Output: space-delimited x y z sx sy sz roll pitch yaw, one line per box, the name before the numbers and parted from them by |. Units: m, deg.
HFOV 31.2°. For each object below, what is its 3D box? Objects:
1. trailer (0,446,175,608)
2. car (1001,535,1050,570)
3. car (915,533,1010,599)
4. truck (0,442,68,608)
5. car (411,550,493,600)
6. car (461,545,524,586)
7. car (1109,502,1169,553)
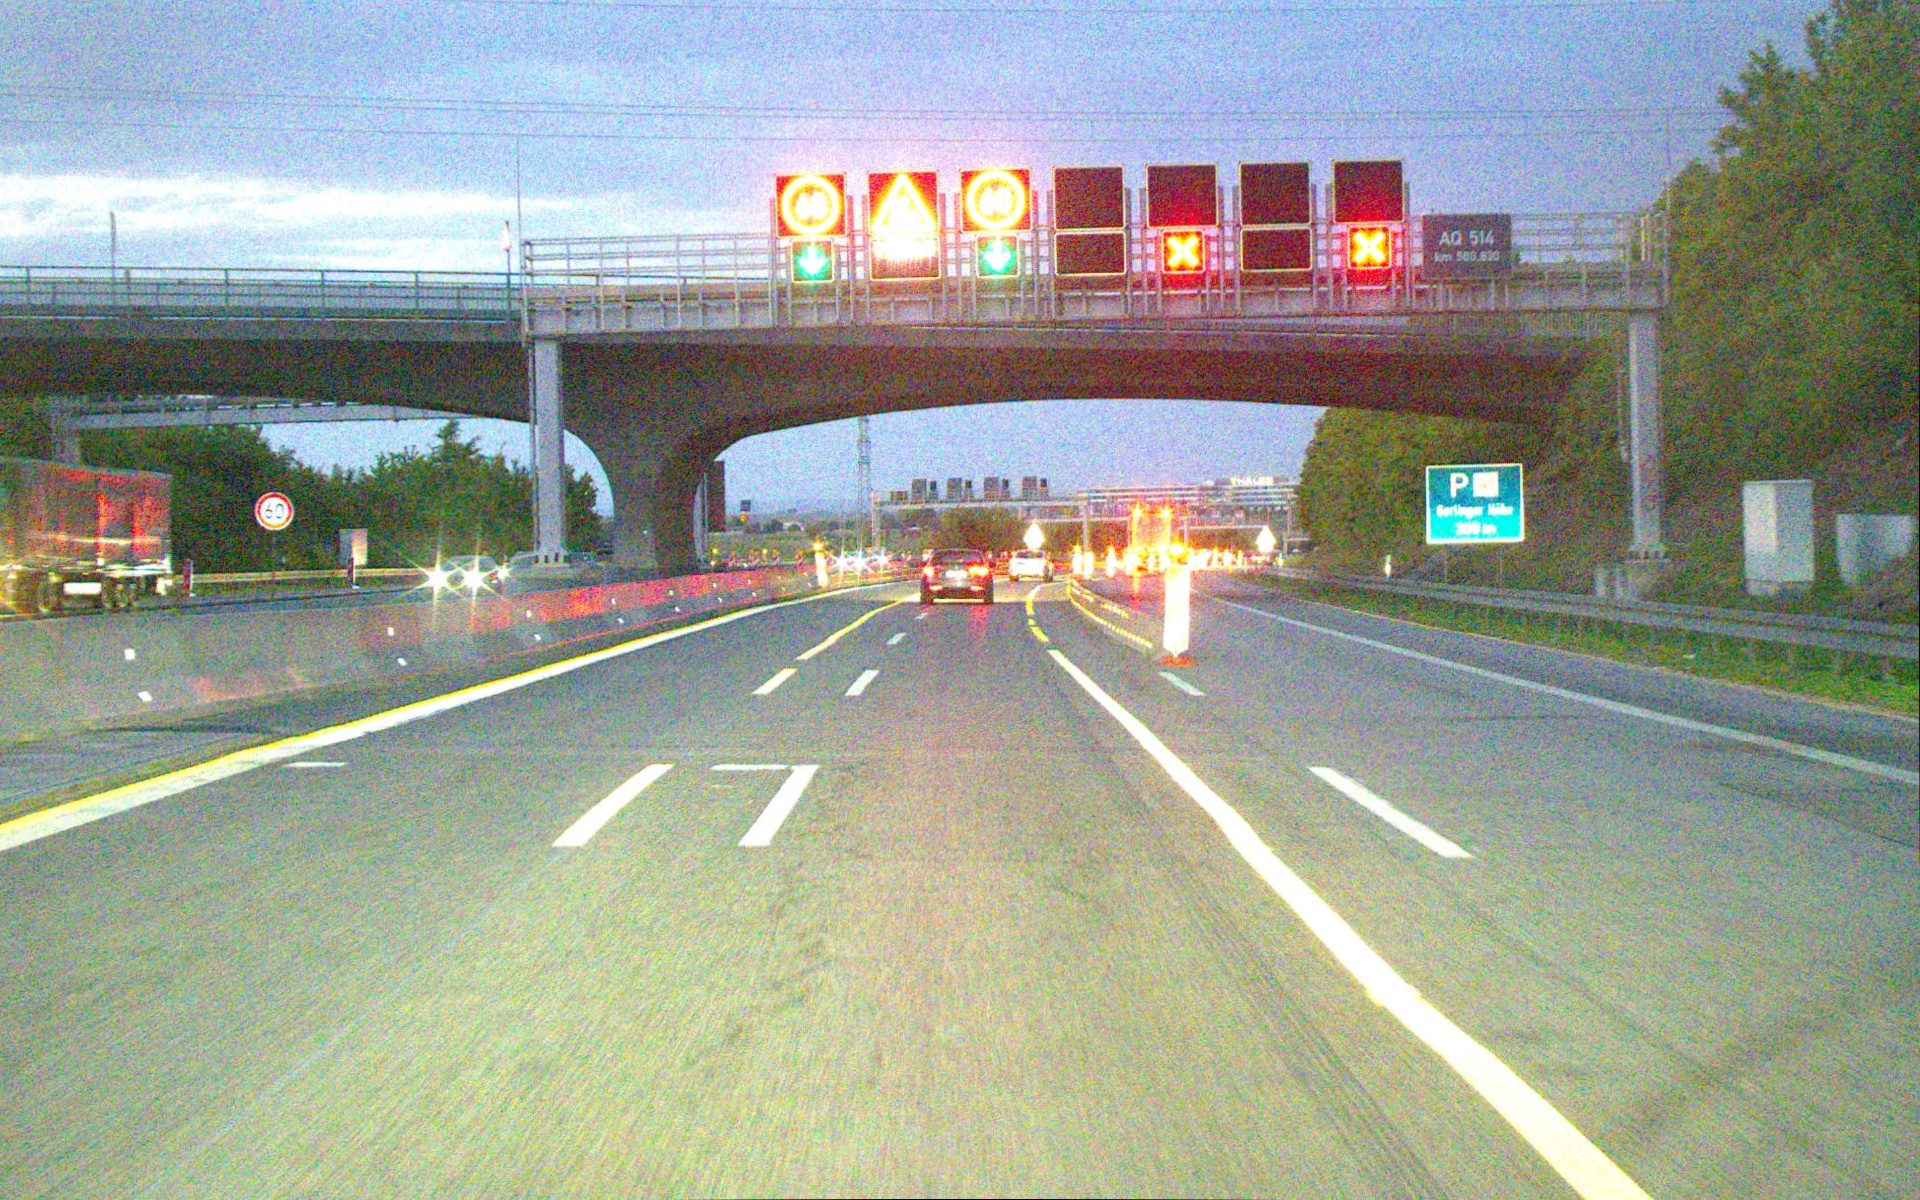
trailer | -25.004 -2.007 96.043 2.779 4.191 12.401 1 1 2
car | 2.864 -2.066 149.642 1.972 1.432 4.000 1 1 3
car | 0.041 -0.891 88.716 2.265 1.616 4.000 1 1 -2
truck | -25.317 -1.942 88.371 2.777 4.157 6.385 1 1 2
car | -17.784 -0.897 120.535 1.994 1.670 4.515 1 1 2
car | -19.847 -1.459 146.175 1.993 1.668 4.582 1 1 0
car | 12.226 -4.929 235.402 3.605 3.384 8.014 1 1 0
